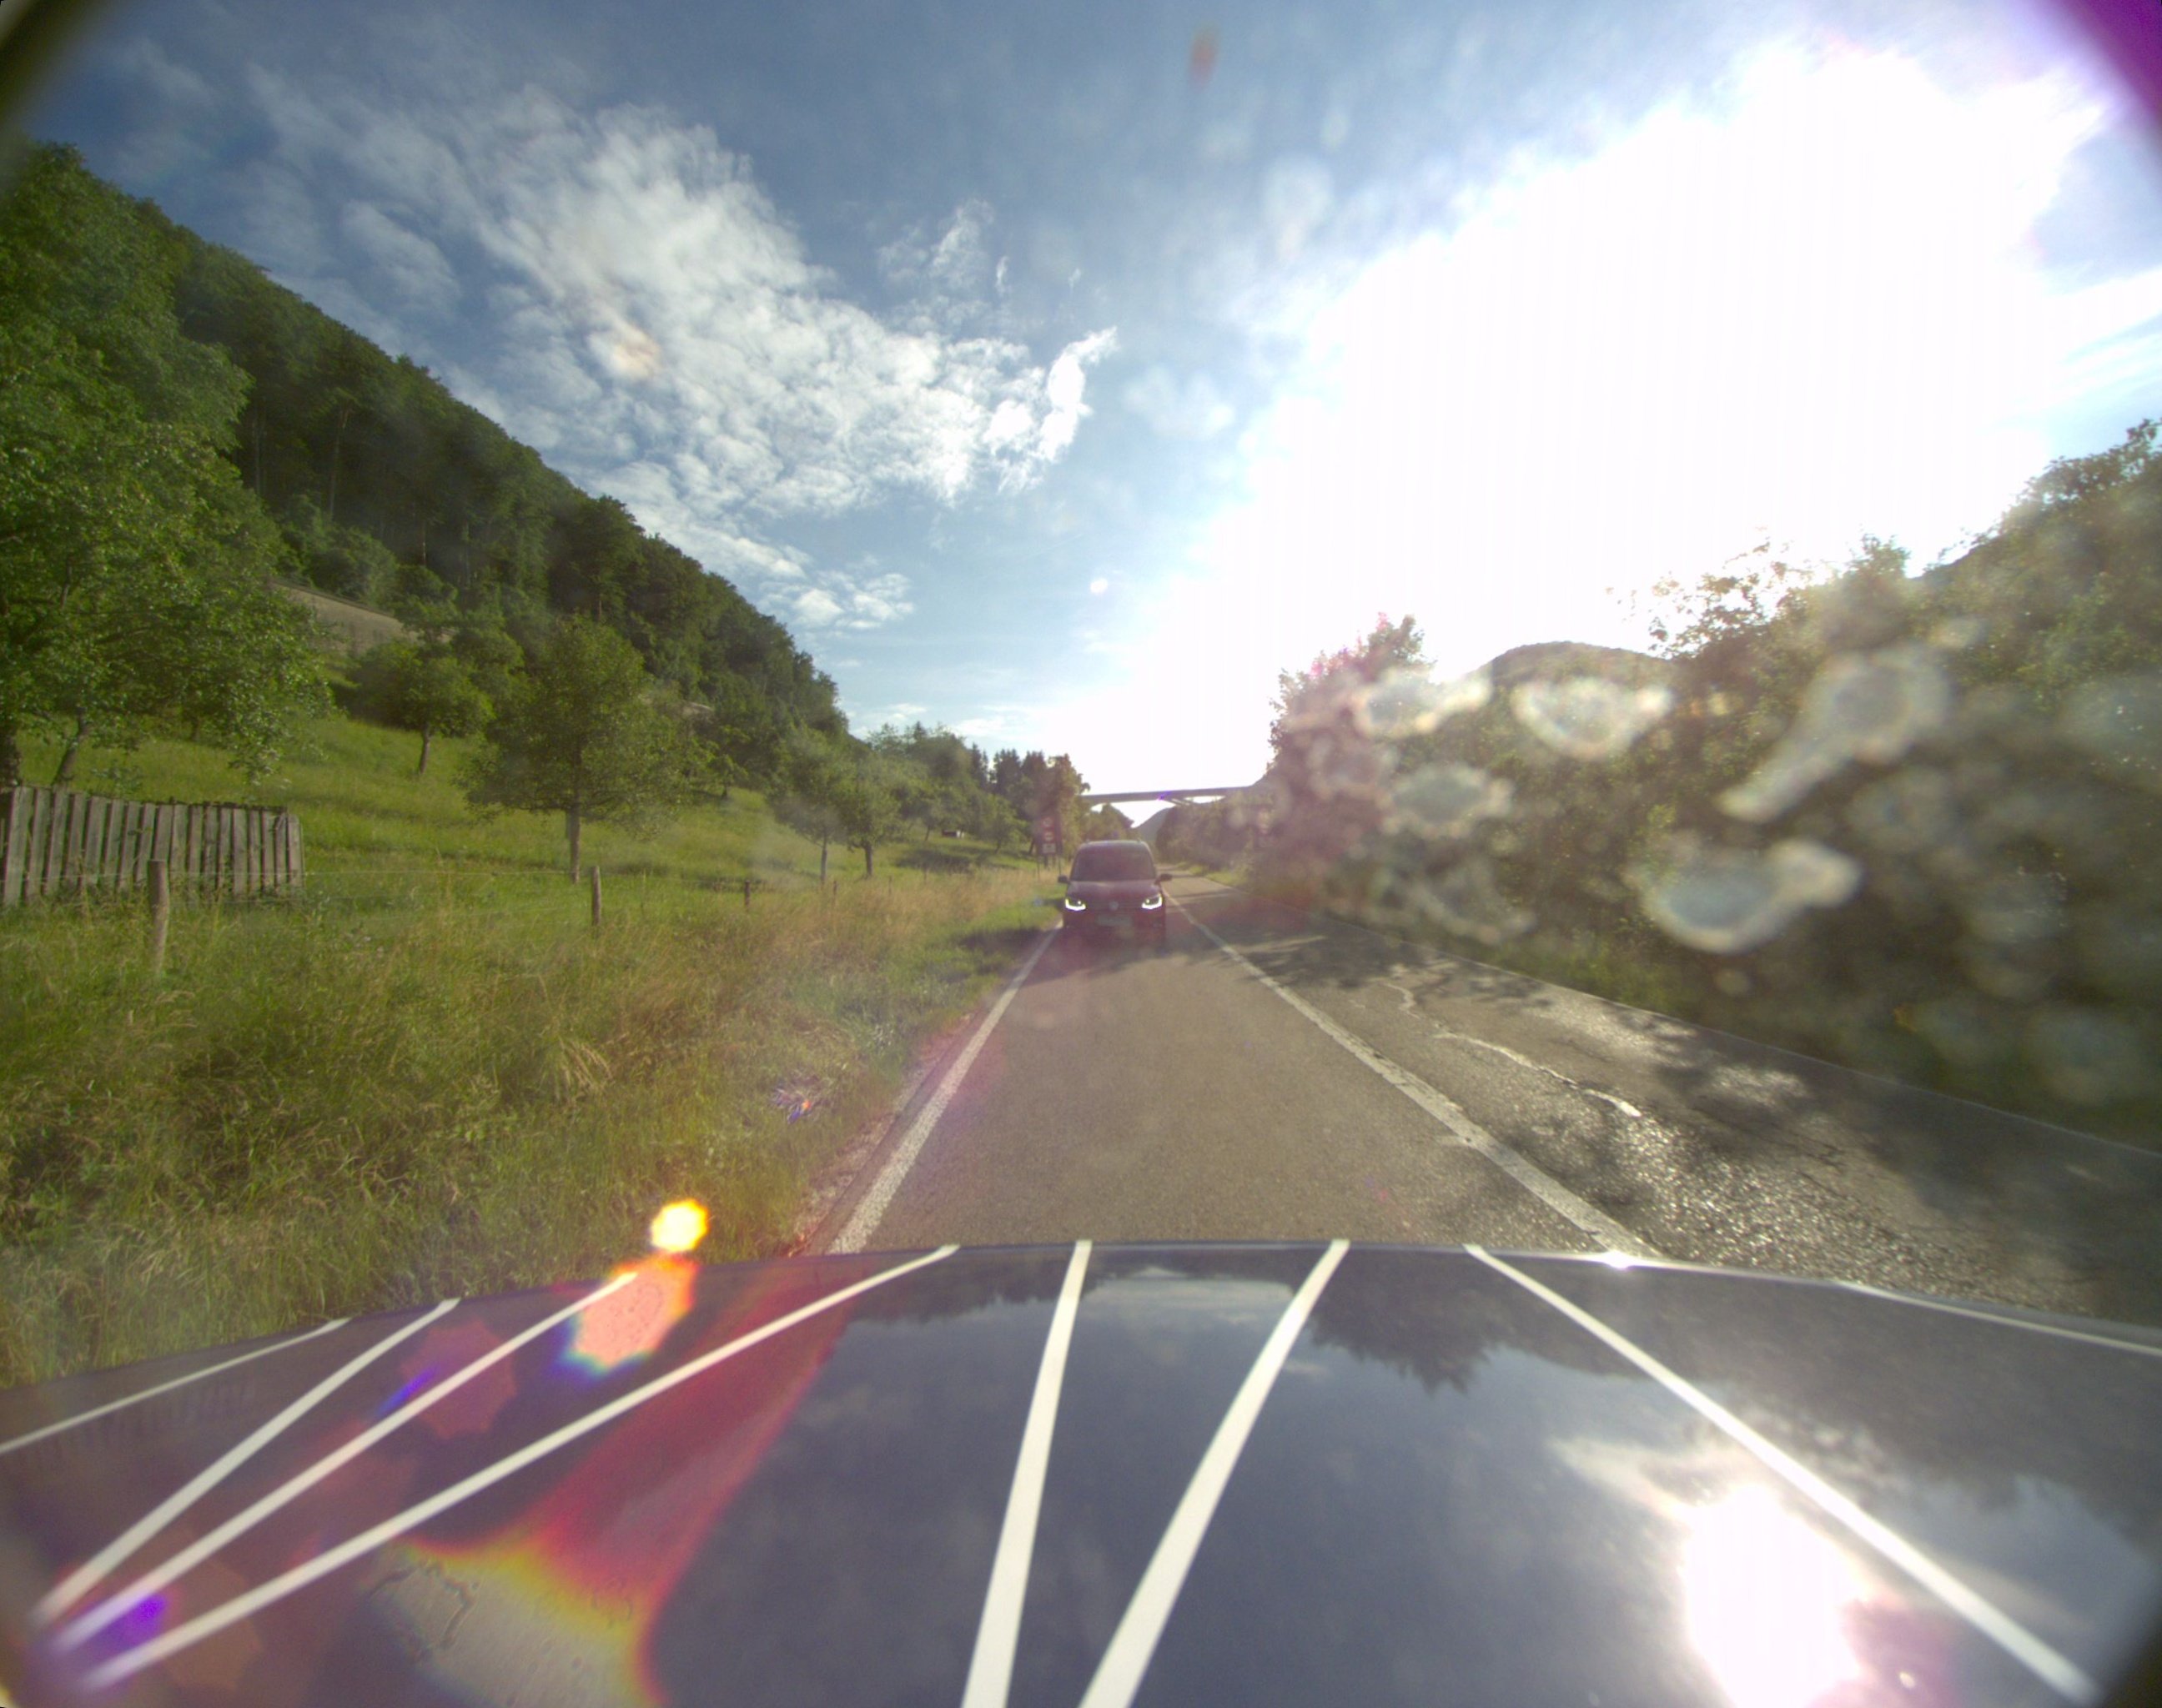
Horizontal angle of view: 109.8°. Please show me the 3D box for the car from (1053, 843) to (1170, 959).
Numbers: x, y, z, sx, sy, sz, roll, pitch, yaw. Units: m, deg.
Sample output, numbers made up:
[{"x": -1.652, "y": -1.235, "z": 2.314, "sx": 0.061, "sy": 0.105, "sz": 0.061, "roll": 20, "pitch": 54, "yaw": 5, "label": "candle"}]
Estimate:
[{"x": 0.572, "y": 0.707, "z": 14.040, "sx": 1.759, "sy": 1.745, "sz": 4.430, "roll": -2, "pitch": 1, "yaw": 2, "label": "car"}]

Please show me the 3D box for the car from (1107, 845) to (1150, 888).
[{"x": 2.108, "y": 0.515, "z": 34.315, "sx": 1.759, "sy": 1.745, "sz": 4.000, "roll": -2, "pitch": 1, "yaw": 2, "label": "car"}]
